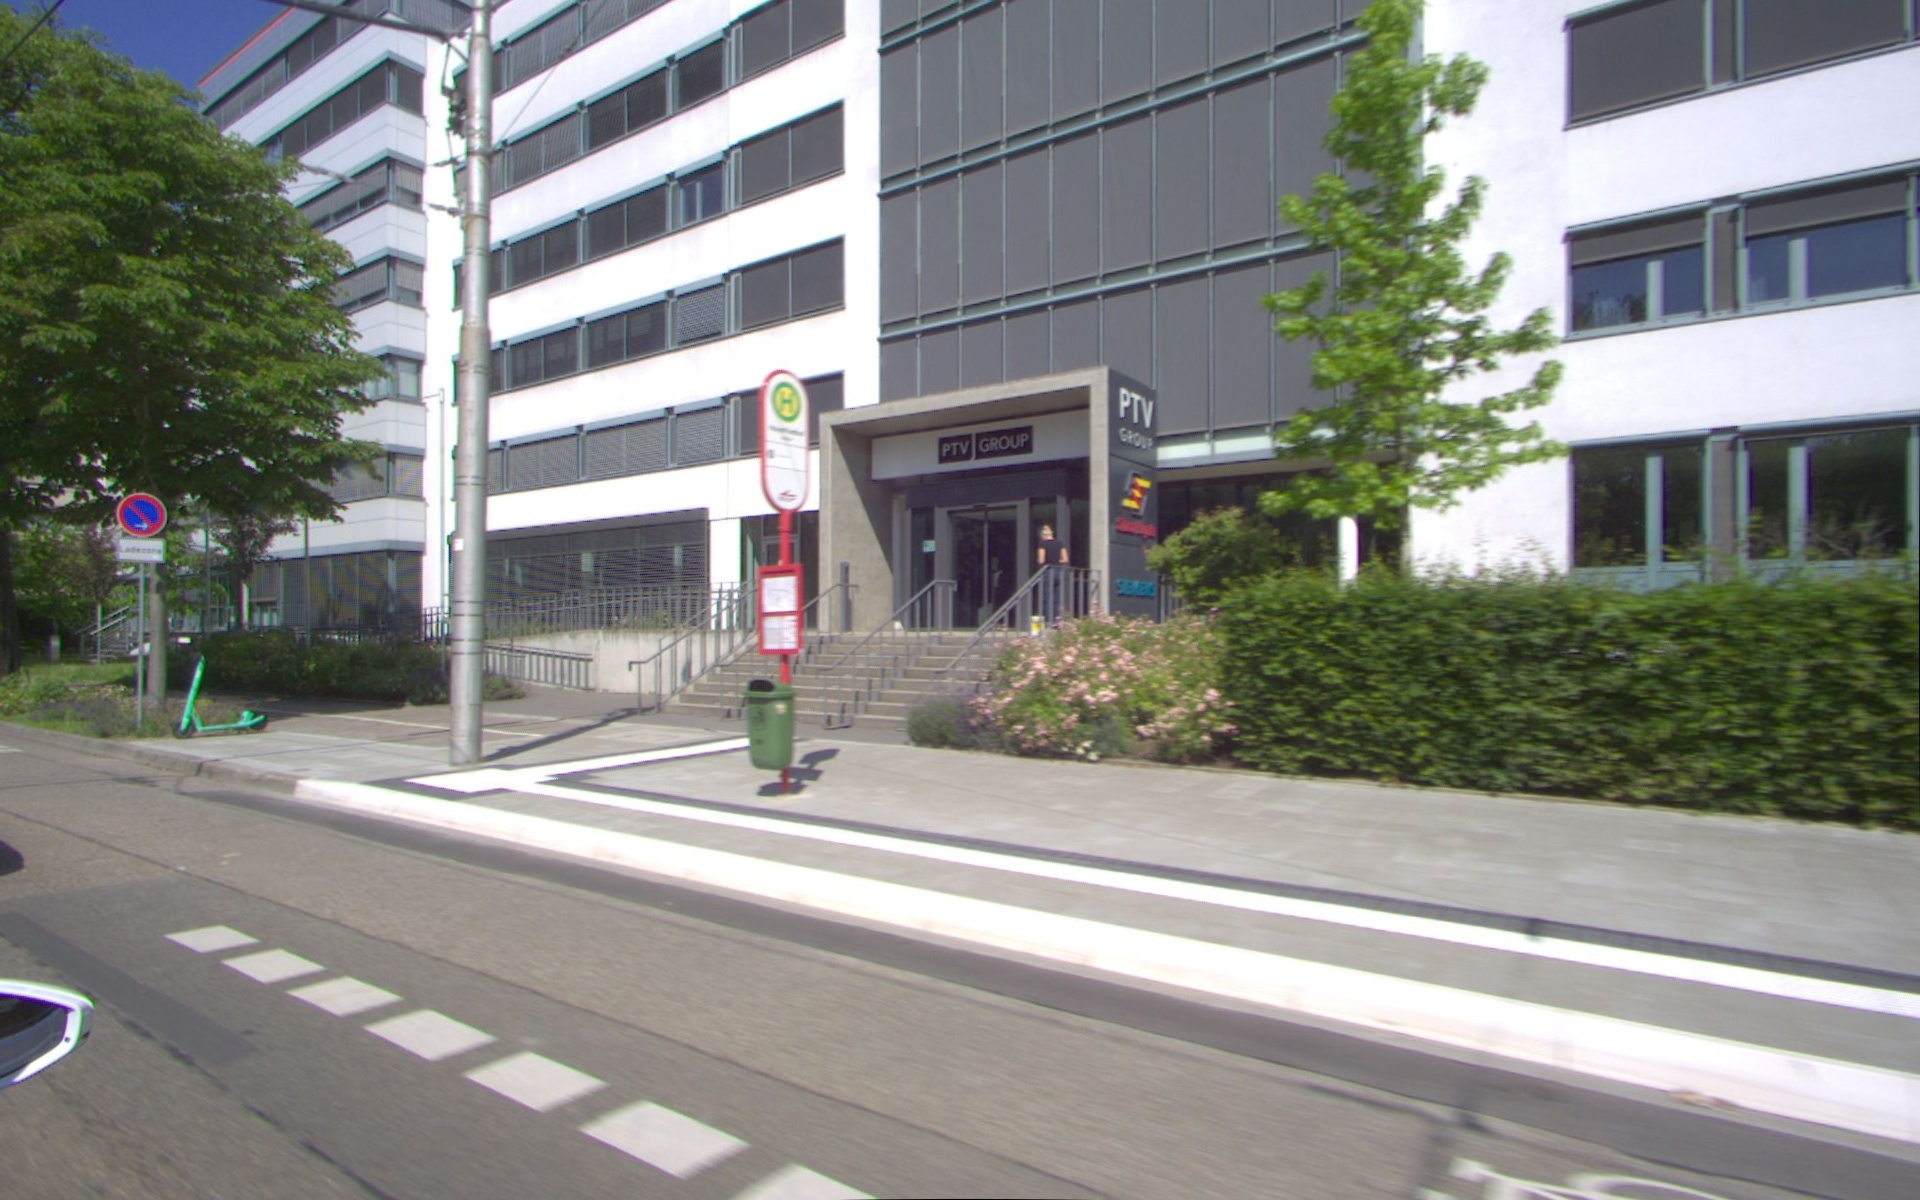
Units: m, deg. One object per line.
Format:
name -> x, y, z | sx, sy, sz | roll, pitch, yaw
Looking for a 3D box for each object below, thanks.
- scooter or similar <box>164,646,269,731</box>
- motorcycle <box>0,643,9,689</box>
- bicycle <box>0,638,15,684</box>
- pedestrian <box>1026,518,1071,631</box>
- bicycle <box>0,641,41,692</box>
scooter or similar -> -10.810, 1.265, 14.577 | 0.487, 1.169, 1.138 | -1, -2, 41
motorcycle -> -23.018, 1.535, 23.107 | 0.527, 1.059, 1.462 | 0, -1, 32
bicycle -> -24.154, 1.498, 24.232 | 0.588, 1.134, 1.770 | 0, -1, 32
pedestrian -> 1.408, -0.386, 15.872 | 0.539, 1.750, 0.497 | 0, -1, 35
bicycle -> -21.308, 1.458, 21.848 | 0.588, 1.097, 1.770 | 0, -1, 32
